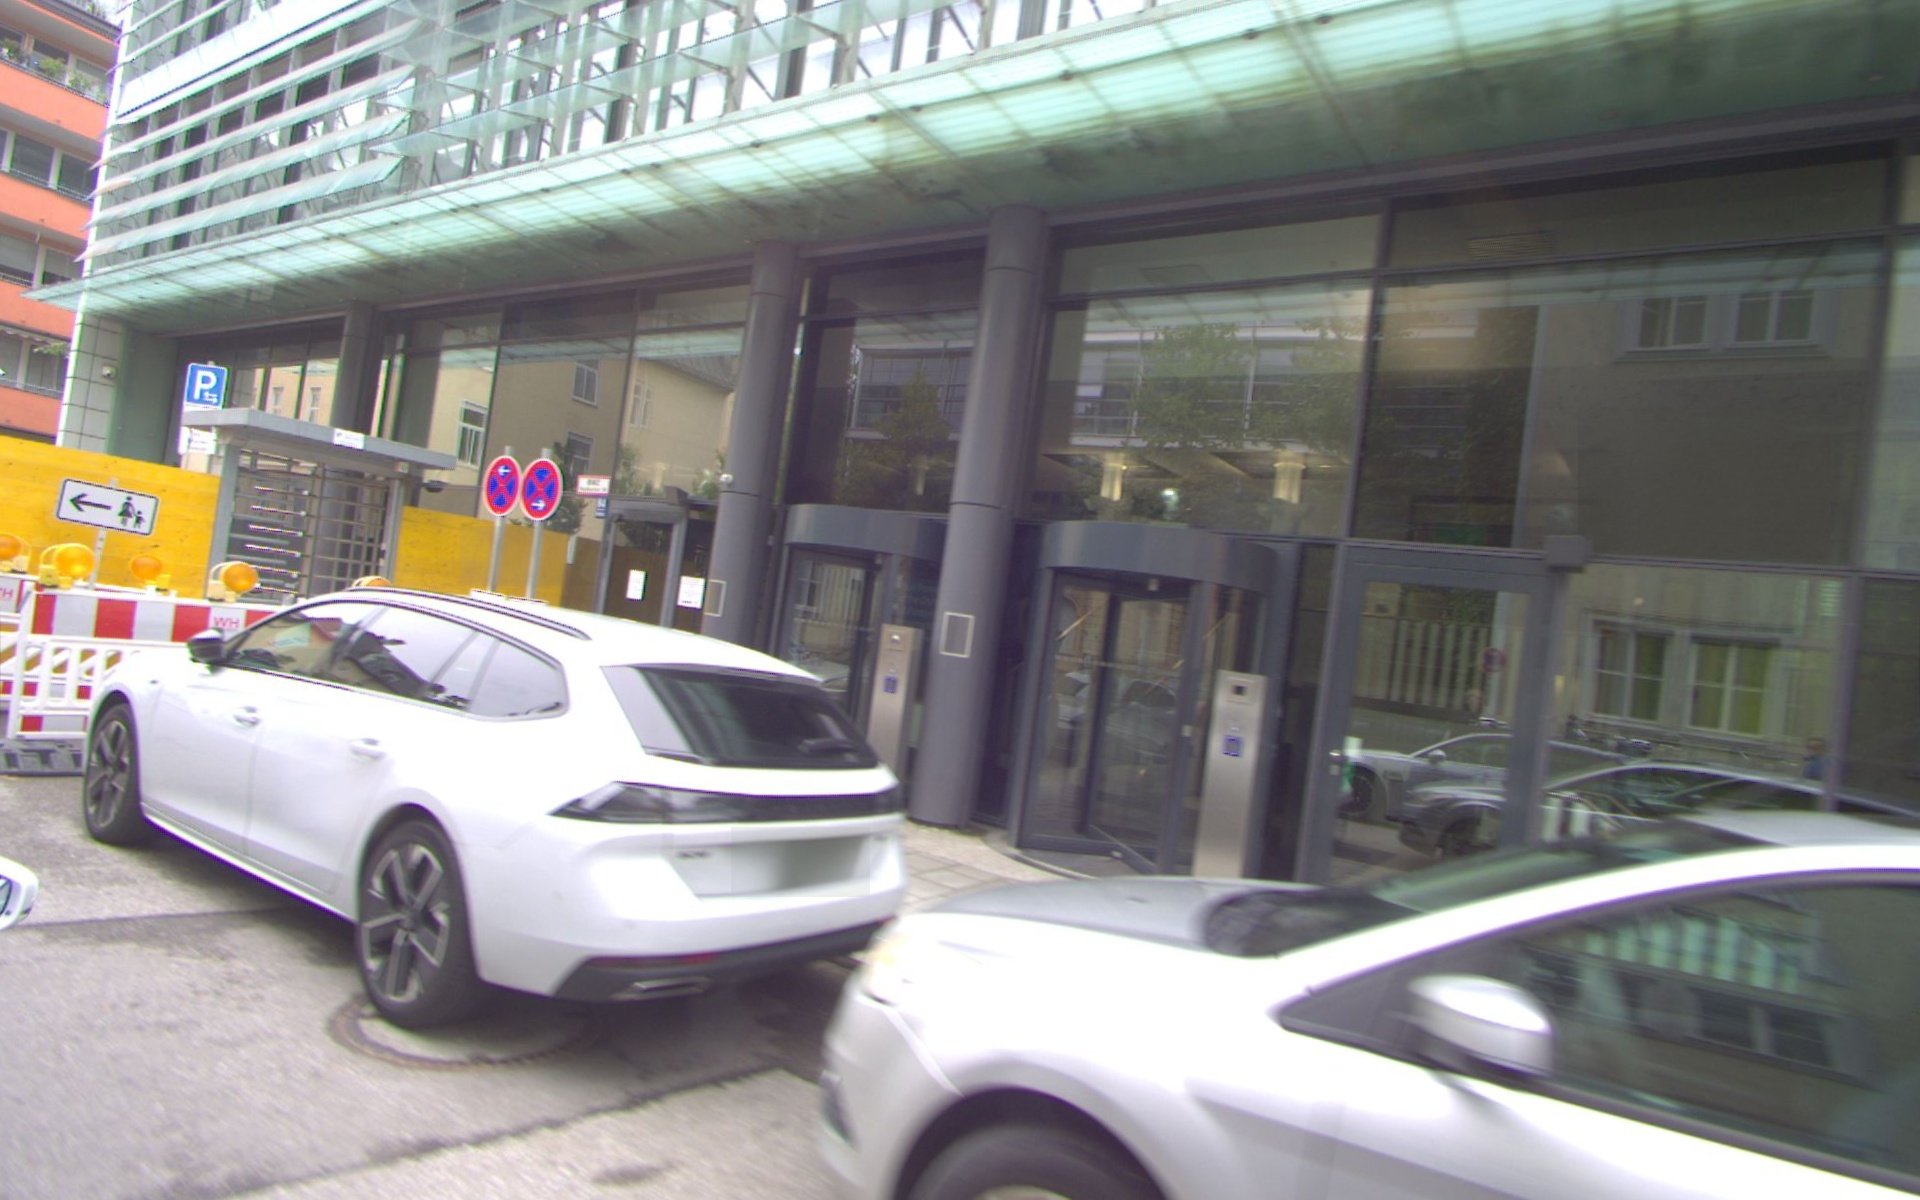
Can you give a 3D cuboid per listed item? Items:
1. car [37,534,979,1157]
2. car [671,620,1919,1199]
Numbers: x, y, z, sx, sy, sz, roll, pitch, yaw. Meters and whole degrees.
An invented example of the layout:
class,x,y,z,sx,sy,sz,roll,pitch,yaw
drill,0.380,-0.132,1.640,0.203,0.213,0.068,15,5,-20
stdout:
class,x,y,z,sx,sy,sz,roll,pitch,yaw
car,-2.314,0.696,4.655,4.437,1.428,1.712,6,-4,33
car,1.636,1.107,1.947,4.165,1.483,1.713,7,-4,30
